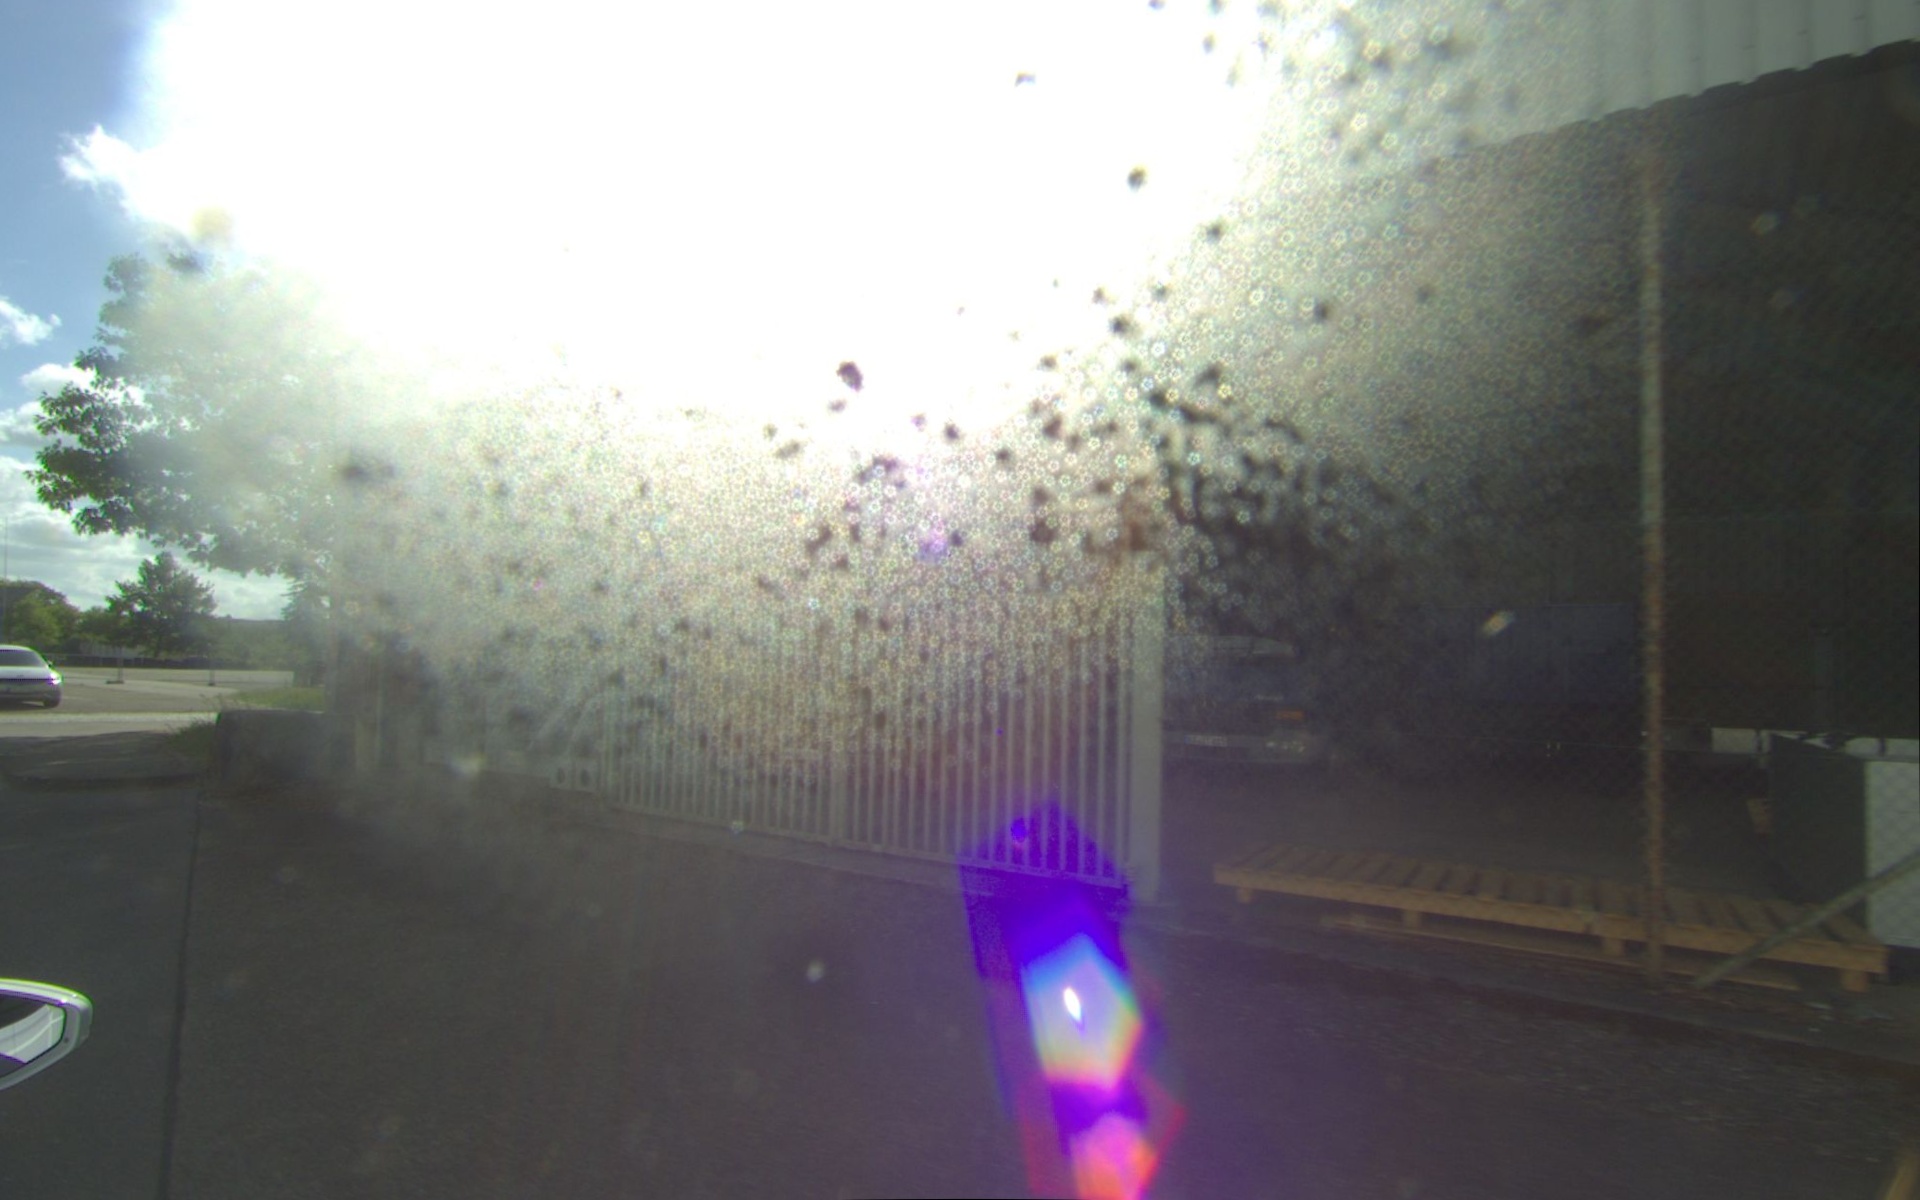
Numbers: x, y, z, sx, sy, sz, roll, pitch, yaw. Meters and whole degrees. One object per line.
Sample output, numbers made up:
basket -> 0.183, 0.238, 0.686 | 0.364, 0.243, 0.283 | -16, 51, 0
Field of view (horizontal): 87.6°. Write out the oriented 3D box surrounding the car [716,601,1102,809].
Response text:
car -> -0.287, 1.198, 12.152 | 2.244, 1.941, 5.165 | -1, -5, 30

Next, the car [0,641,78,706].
car -> -26.212, 1.971, 27.500 | 4.281, 1.612, 1.978 | 0, -4, 35

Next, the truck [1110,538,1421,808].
truck -> 4.277, 0.938, 13.157 | 2.334, 2.739, 5.556 | -1, -4, 35

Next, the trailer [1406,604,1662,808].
trailer -> 7.382, 1.261, 12.750 | 2.433, 2.164, 3.395 | -1, -4, 37
